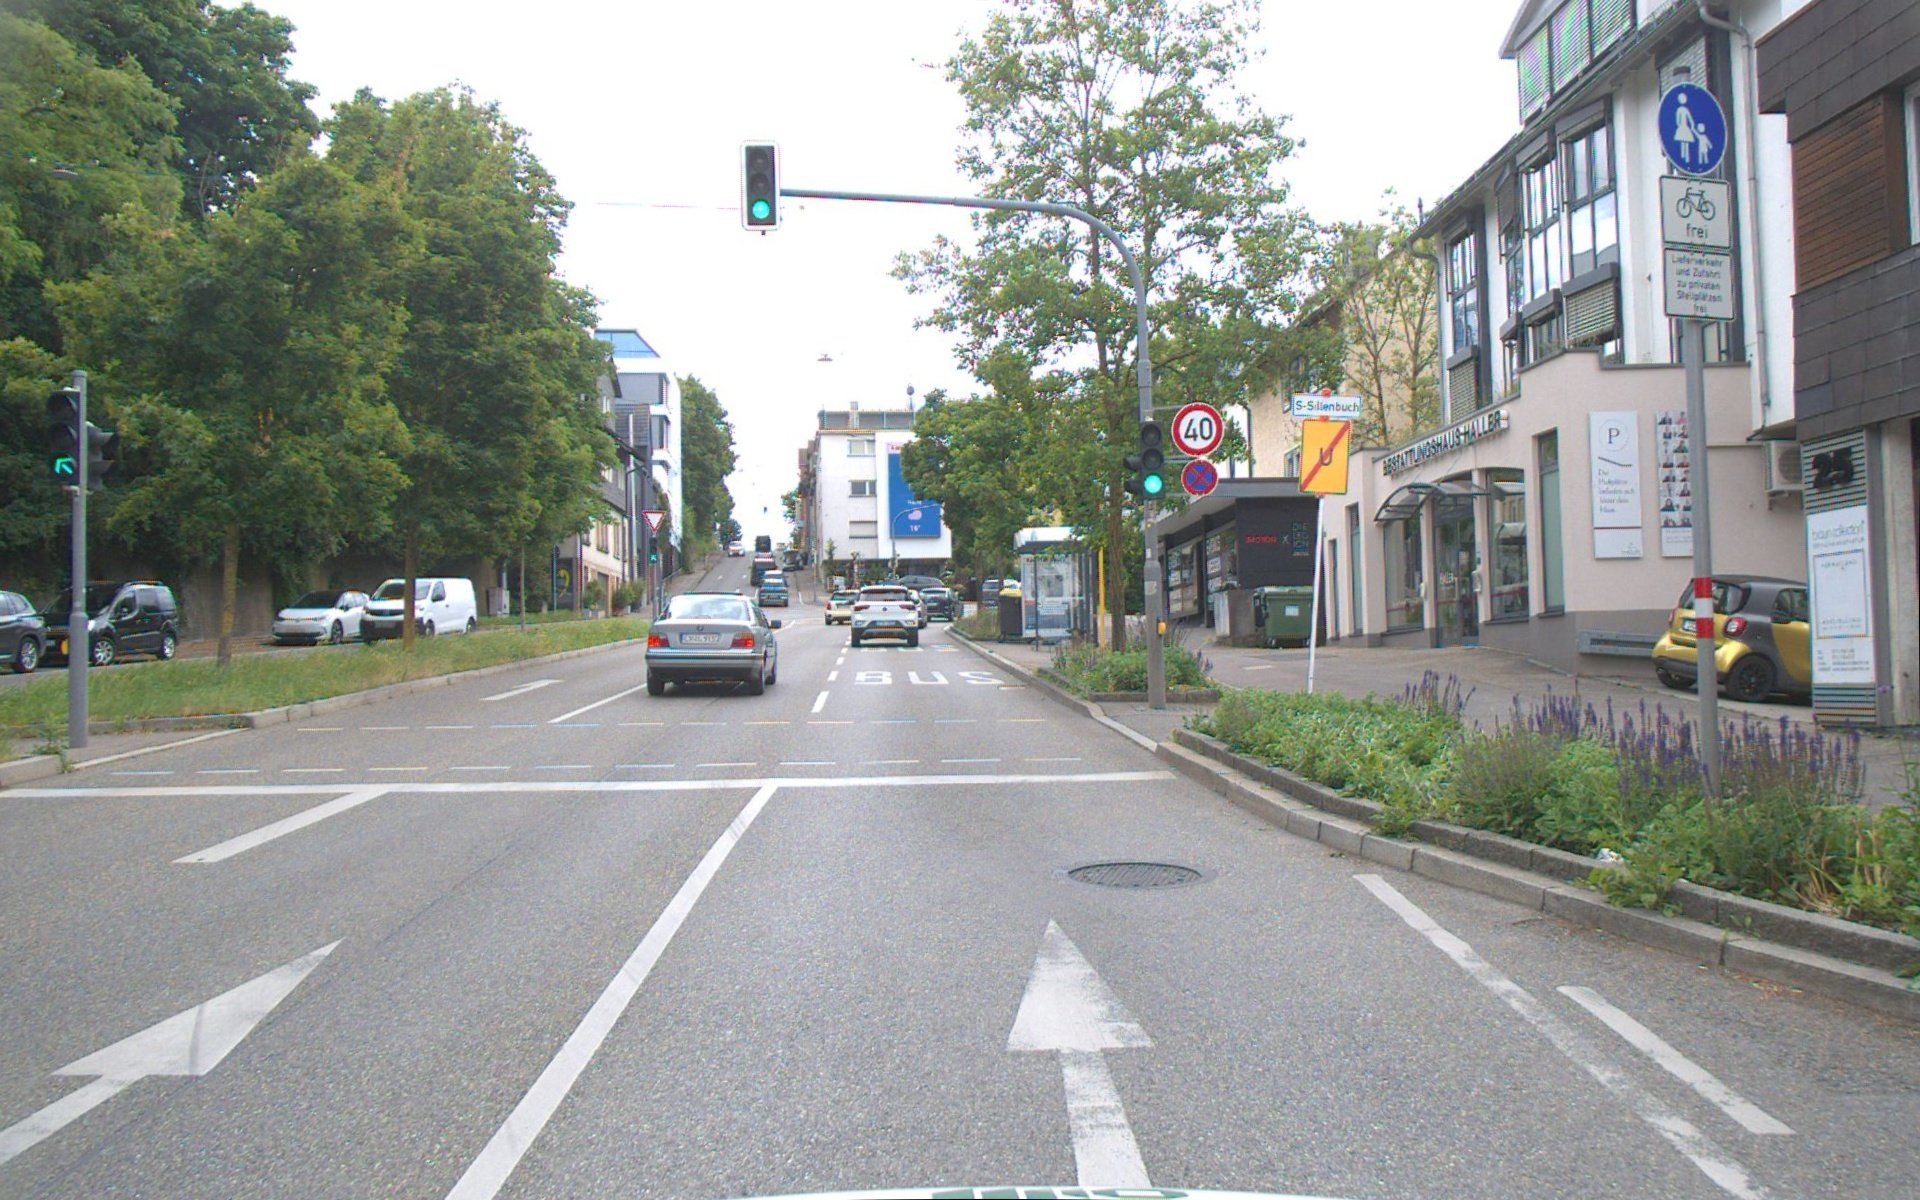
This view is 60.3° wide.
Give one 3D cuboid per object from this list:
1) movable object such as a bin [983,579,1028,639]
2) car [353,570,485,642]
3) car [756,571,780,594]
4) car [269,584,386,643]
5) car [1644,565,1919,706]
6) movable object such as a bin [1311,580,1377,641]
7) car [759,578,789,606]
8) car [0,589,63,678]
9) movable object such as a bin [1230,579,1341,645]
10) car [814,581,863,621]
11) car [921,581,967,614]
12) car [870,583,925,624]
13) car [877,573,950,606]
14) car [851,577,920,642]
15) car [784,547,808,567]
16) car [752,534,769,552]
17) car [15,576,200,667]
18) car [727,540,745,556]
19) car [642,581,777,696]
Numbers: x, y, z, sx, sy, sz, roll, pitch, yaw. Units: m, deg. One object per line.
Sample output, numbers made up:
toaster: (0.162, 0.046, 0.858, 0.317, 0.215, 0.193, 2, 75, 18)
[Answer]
movable object such as a bin: (1.174, 0.214, 42.752, 1.063, 1.507, 1.536, 0, 1, -2)
car: (-15.696, 0.118, 48.296, 1.898, 1.992, 5.024, 0, 1, 4)
car: (-14.102, -1.293, 121.793, 1.746, 1.606, 3.995, 0, 1, -6)
car: (-18.872, 0.372, 49.555, 1.743, 1.657, 4.172, 0, 1, 3)
car: (10.659, 0.439, 21.244, 2.935, 1.489, 1.664, 5, 1, -9)
movable object such as a bin: (9.193, 0.233, 39.638, 1.313, 1.434, 1.127, 0, 1, -1)
car: (-11.193, -0.510, 99.496, 1.746, 1.606, 3.995, 0, 1, -6)
car: (-19.229, 0.640, 31.299, 1.929, 1.685, 4.533, 0, 0, 1)
movable object such as a bin: (7.803, 0.250, 39.995, 1.850, 1.477, 4.000, 0, 1, -1)
car: (-5.133, 0.007, 70.064, 1.743, 1.606, 4.000, 0, 1, 0)
car: (-0.685, -0.133, 74.418, 1.756, 1.434, 4.003, 0, 1, 4)
car: (-2.324, 0.099, 62.095, 1.743, 1.434, 4.002, 0, 1, 2)
car: (-3.095, -0.704, 109.892, 4.599, 1.741, 2.316, 4, 3, -7)
car: (-1.997, 0.214, 43.665, 1.744, 1.606, 3.998, 0, 1, -4)
car: (-14.308, -3.752, 144.391, 2.049, 1.641, 3.996, -1, 1, -5)
car: (-23.637, -6.715, 195.696, 1.955, 2.049, 3.995, 0, 1, -6)
car: (-18.822, 0.409, 36.769, 1.743, 1.875, 4.489, 0, 1, 0)
car: (-24.269, -5.644, 179.580, 1.847, 1.594, 4.384, -1, 4, -7)
car: (-3.538, 0.485, 23.931, 1.673, 1.489, 3.996, 0, 1, -5)
